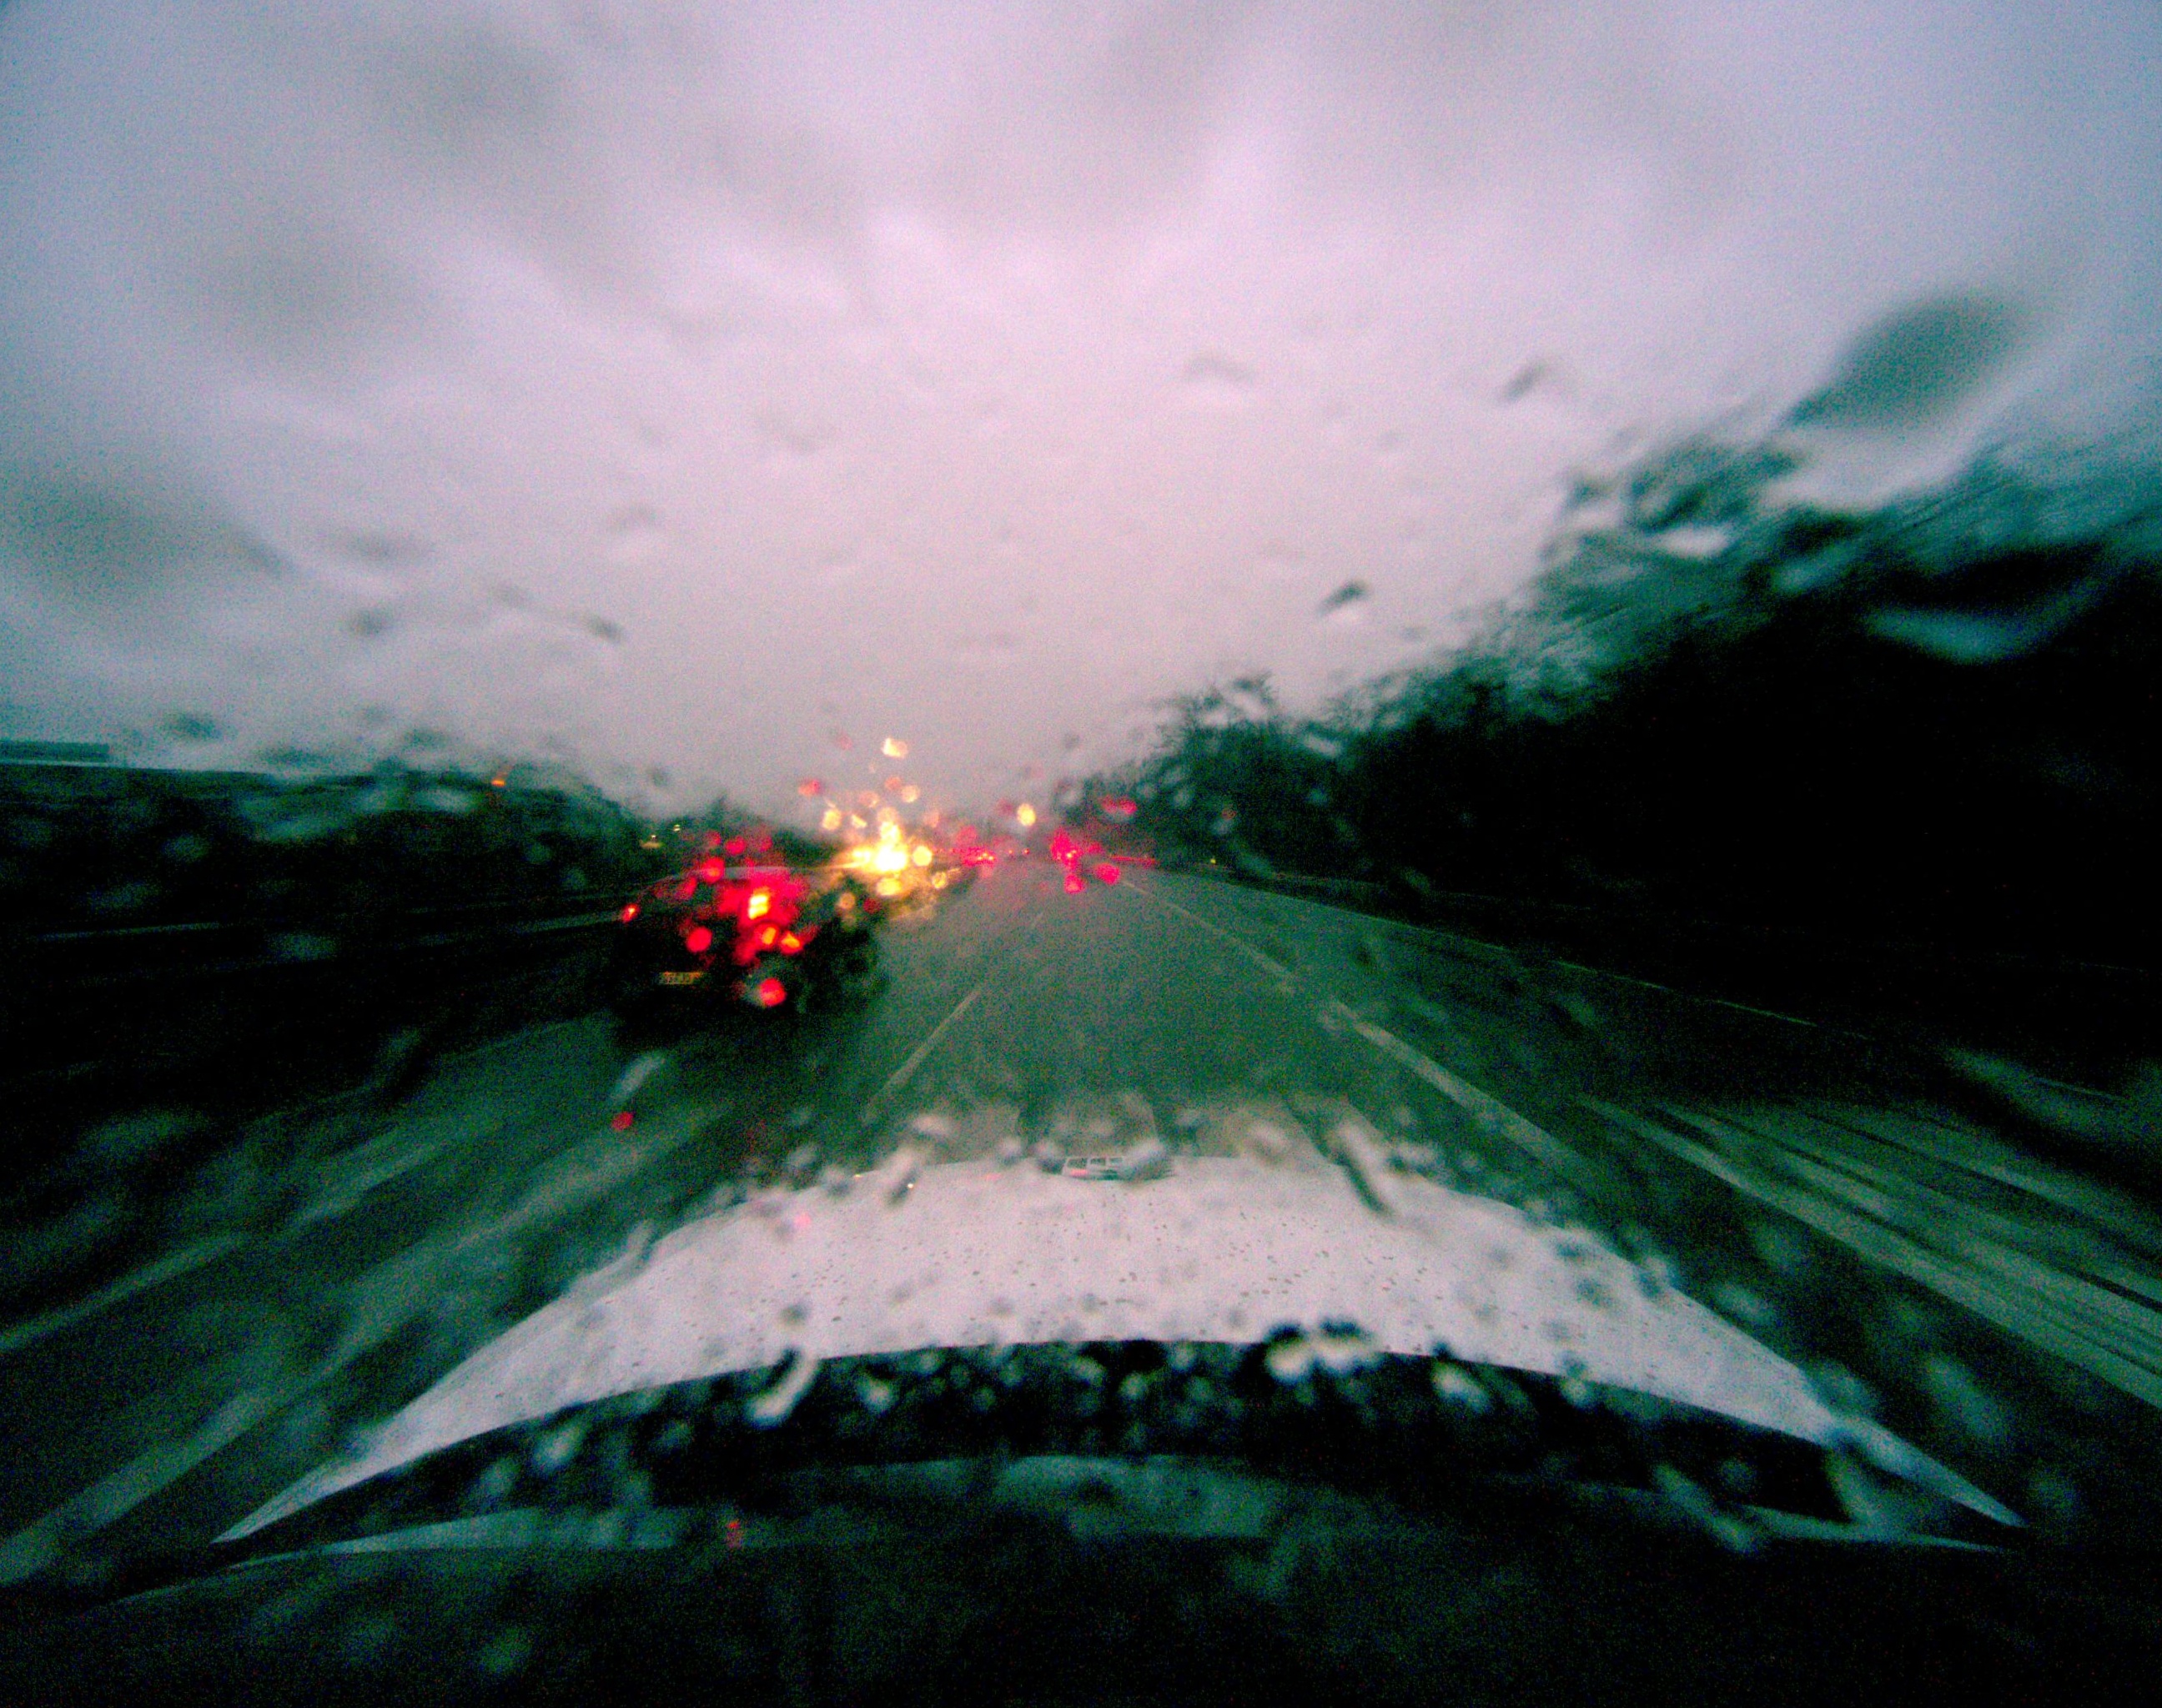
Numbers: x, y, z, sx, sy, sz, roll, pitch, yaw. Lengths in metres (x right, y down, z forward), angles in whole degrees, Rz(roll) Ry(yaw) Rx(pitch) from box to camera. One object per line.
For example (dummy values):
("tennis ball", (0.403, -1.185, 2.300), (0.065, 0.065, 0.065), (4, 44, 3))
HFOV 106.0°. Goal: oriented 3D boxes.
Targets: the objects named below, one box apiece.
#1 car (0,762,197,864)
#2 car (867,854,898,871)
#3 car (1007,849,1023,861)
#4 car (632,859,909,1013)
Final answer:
("car", (-36.223, -1.294, 26.675), (3.178, 3.210, 9.950), (-2, 0, 4))
("car", (-20.523, 0.825, 84.460), (1.786, 1.683, 4.692), (-1, 0, 3))
("car", (-7.743, 0.155, 95.774), (1.410, 1.317, 3.085), (1, 0, 3))
("car", (-3.255, 0.781, 9.436), (1.620, 1.392, 3.999), (0, -1, 0))
